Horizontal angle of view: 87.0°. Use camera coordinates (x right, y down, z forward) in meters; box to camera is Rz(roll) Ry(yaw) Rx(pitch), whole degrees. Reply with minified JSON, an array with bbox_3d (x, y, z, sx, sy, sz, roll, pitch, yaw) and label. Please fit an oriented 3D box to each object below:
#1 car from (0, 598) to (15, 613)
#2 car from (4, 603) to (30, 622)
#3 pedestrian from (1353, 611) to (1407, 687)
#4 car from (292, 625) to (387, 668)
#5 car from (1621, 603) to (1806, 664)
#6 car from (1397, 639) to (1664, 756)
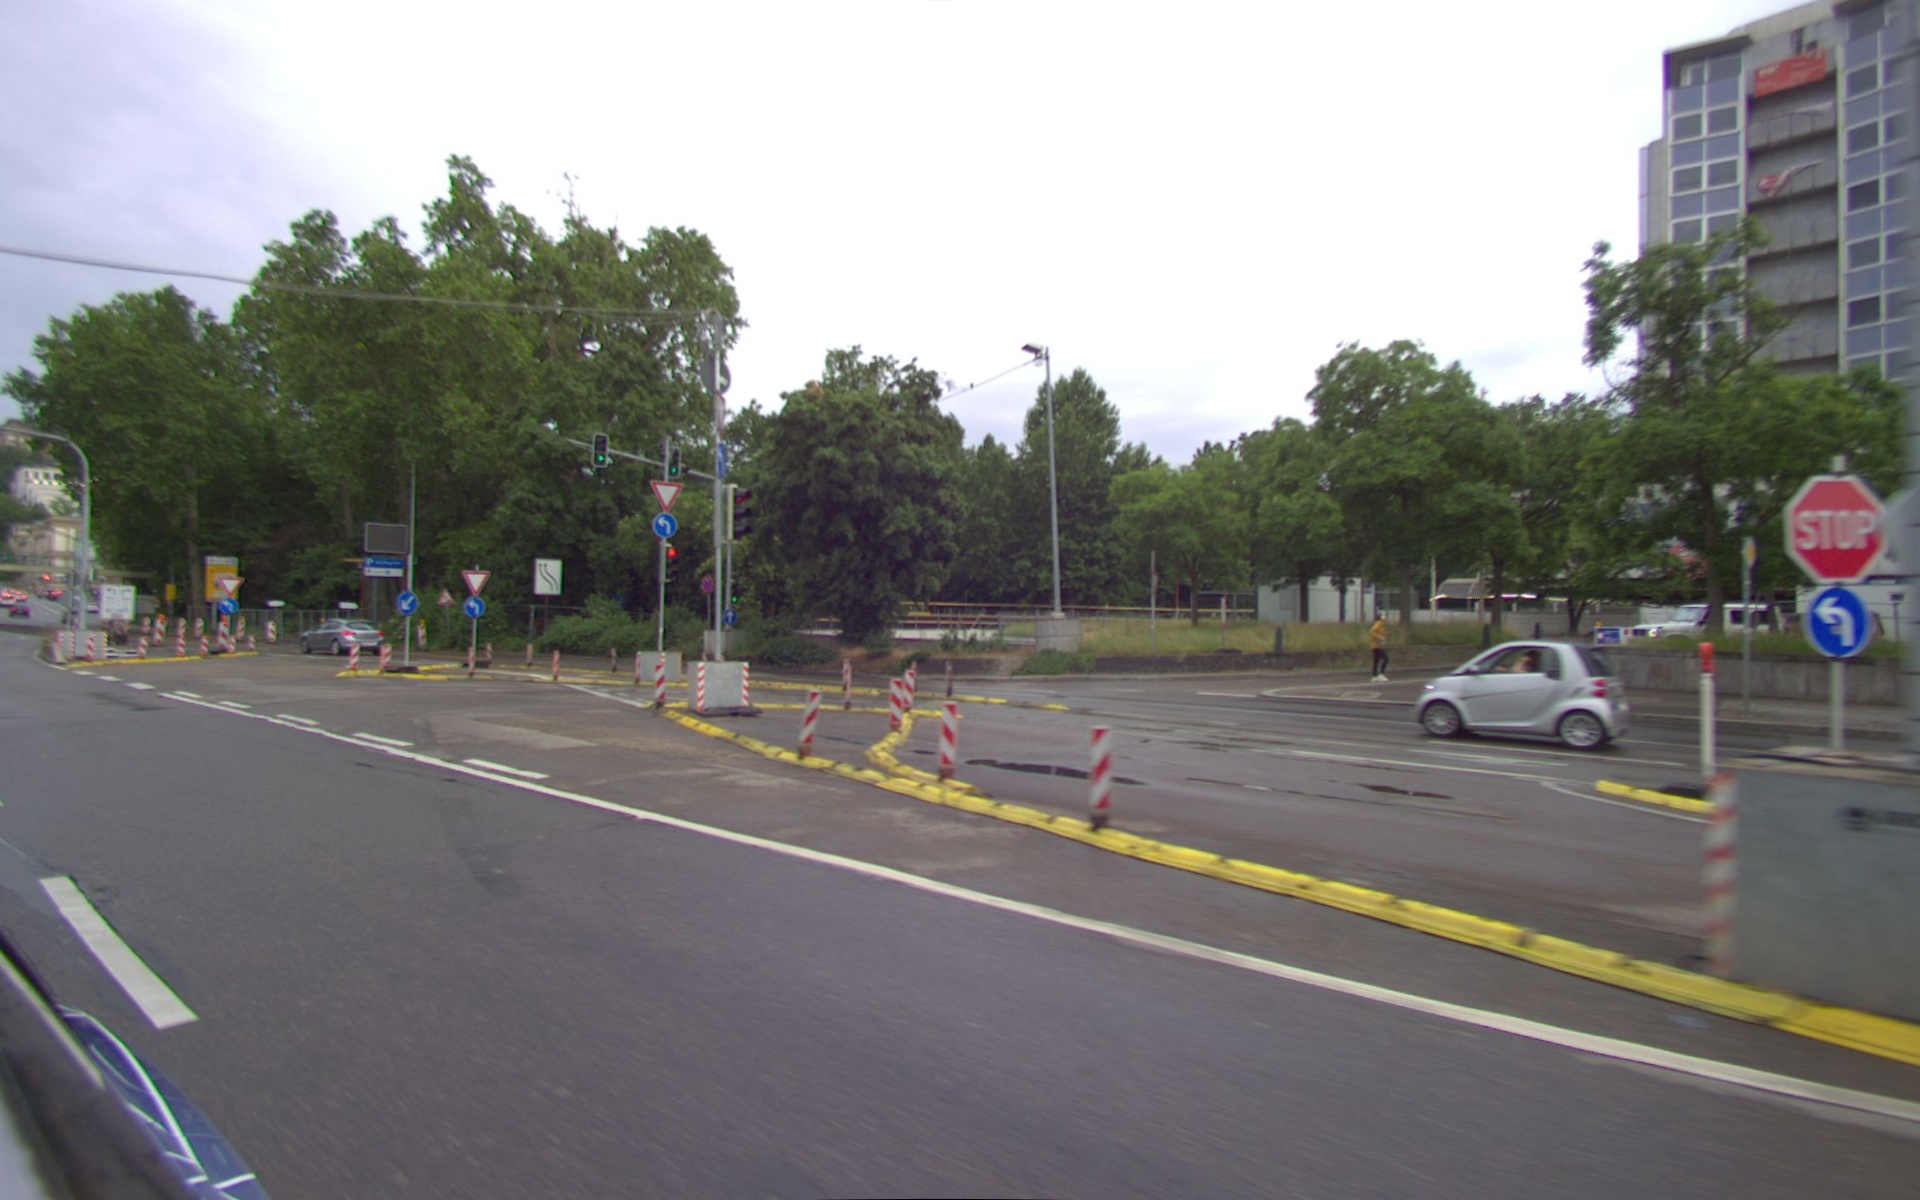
[{"bbox_3d":[-136.643,0.805,144.654,3.999,2.029,1.972,-3,-2,43],"label":"car"},{"bbox_3d":[-109.588,1.472,117.610,3.999,2.029,1.972,-3,-2,43],"label":"car"},{"bbox_3d":[9.881,1.160,23.814,0.950,1.738,0.551,-6,-5,41],"label":"pedestrian"},{"bbox_3d":[-25.239,1.884,41.137,4.144,1.554,1.645,-4,-4,32],"label":"car"},{"bbox_3d":[26.706,1.202,36.058,4.783,2.029,2.028,-1,-2,12],"label":"car"},{"bbox_3d":[8.524,1.383,15.242,3.175,1.554,1.659,-2,-4,45],"label":"car"}]
